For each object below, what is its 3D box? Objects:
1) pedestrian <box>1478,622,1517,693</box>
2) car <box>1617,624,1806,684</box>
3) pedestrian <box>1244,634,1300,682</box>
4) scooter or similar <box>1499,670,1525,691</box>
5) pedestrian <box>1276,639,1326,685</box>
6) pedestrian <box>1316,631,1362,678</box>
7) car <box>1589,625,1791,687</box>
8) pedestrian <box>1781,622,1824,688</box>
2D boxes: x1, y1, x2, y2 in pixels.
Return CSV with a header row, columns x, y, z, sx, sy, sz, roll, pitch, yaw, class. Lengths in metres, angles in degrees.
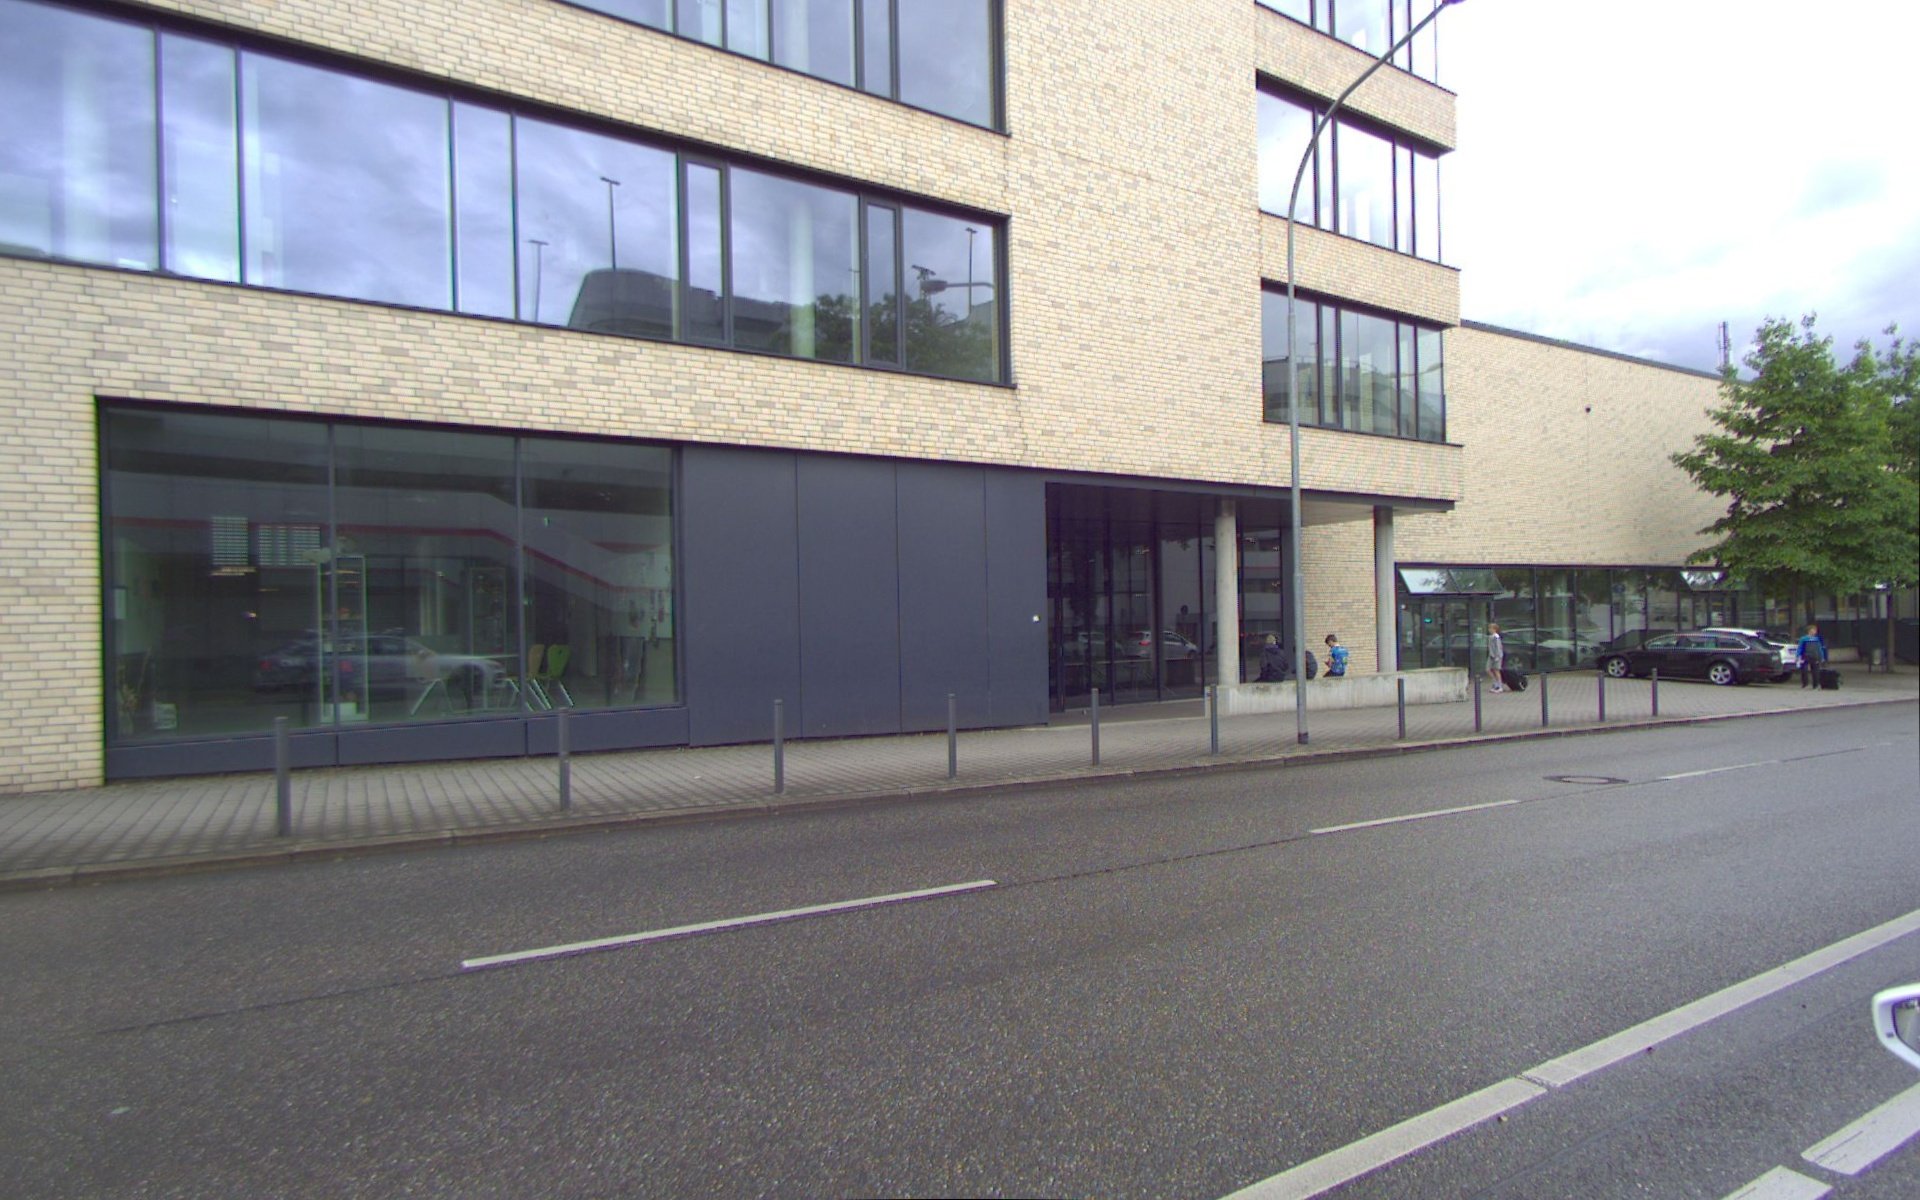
x,y,z,sx,sy,sz,roll,pitch,yaw,class
13.383,1.411,24.995,0.473,1.720,0.672,1,0,-30,pedestrian
23.470,1.616,31.527,1.980,1.595,4.388,-1,1,-35,car
5.893,1.097,18.990,0.752,0.796,0.595,9,-4,-30,pedestrian
13.862,2.013,25.235,0.609,0.507,0.278,2,0,-29,scooter or similar
6.618,1.190,19.518,0.719,0.856,0.583,2,-1,-30,pedestrian
7.566,1.075,20.059,0.519,0.897,0.676,2,0,-36,pedestrian
21.434,1.575,29.660,1.981,1.608,4.437,1,-1,-36,car
23.178,1.501,27.641,0.745,1.748,0.685,0,1,-31,pedestrian
